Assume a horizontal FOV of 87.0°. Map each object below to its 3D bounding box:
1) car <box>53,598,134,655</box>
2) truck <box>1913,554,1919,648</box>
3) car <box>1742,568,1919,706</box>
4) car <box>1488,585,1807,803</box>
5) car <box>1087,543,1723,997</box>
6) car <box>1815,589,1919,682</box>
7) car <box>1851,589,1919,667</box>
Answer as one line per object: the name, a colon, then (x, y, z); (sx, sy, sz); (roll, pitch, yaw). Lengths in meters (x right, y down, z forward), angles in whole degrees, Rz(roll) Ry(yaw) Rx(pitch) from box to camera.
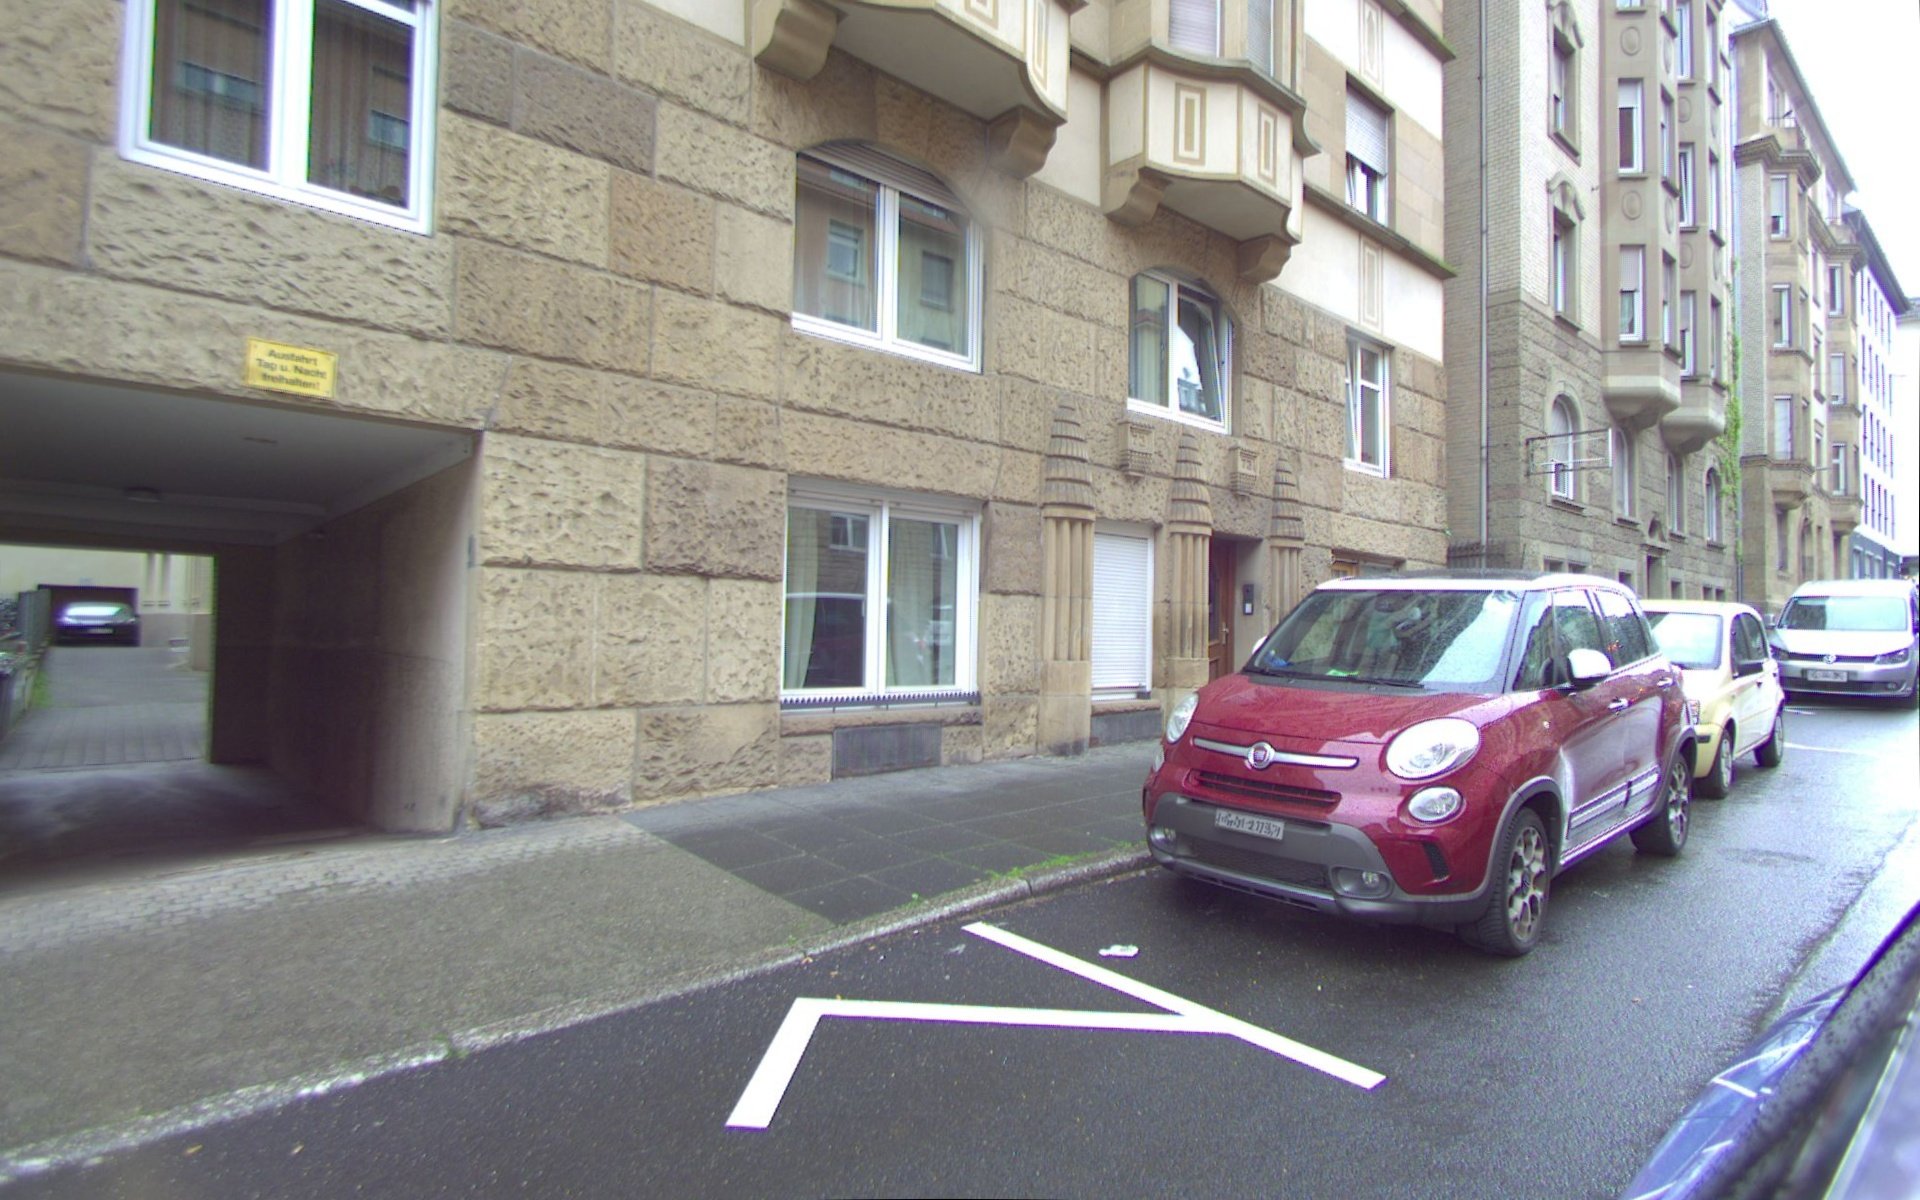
car: (-25.185, 0.738, 29.454); (1.692, 1.541, 4.098); (0, -1, -41)
truck: (29.163, 0.020, 28.876); (6.036, 2.568, 2.234); (0, -1, -41)
car: (13.763, 0.498, 15.507); (4.380, 1.825, 1.966); (0, -1, -41)
car: (6.199, 0.673, 8.989); (3.517, 1.549, 1.578); (0, -1, -43)
car: (2.678, 0.610, 5.628); (3.932, 1.619, 1.804); (0, -1, -42)
car: (17.171, 0.598, 18.498); (3.934, 1.549, 1.994); (0, -1, -45)
car: (20.477, 0.545, 21.437); (3.860, 1.549, 1.889); (0, -1, -41)
